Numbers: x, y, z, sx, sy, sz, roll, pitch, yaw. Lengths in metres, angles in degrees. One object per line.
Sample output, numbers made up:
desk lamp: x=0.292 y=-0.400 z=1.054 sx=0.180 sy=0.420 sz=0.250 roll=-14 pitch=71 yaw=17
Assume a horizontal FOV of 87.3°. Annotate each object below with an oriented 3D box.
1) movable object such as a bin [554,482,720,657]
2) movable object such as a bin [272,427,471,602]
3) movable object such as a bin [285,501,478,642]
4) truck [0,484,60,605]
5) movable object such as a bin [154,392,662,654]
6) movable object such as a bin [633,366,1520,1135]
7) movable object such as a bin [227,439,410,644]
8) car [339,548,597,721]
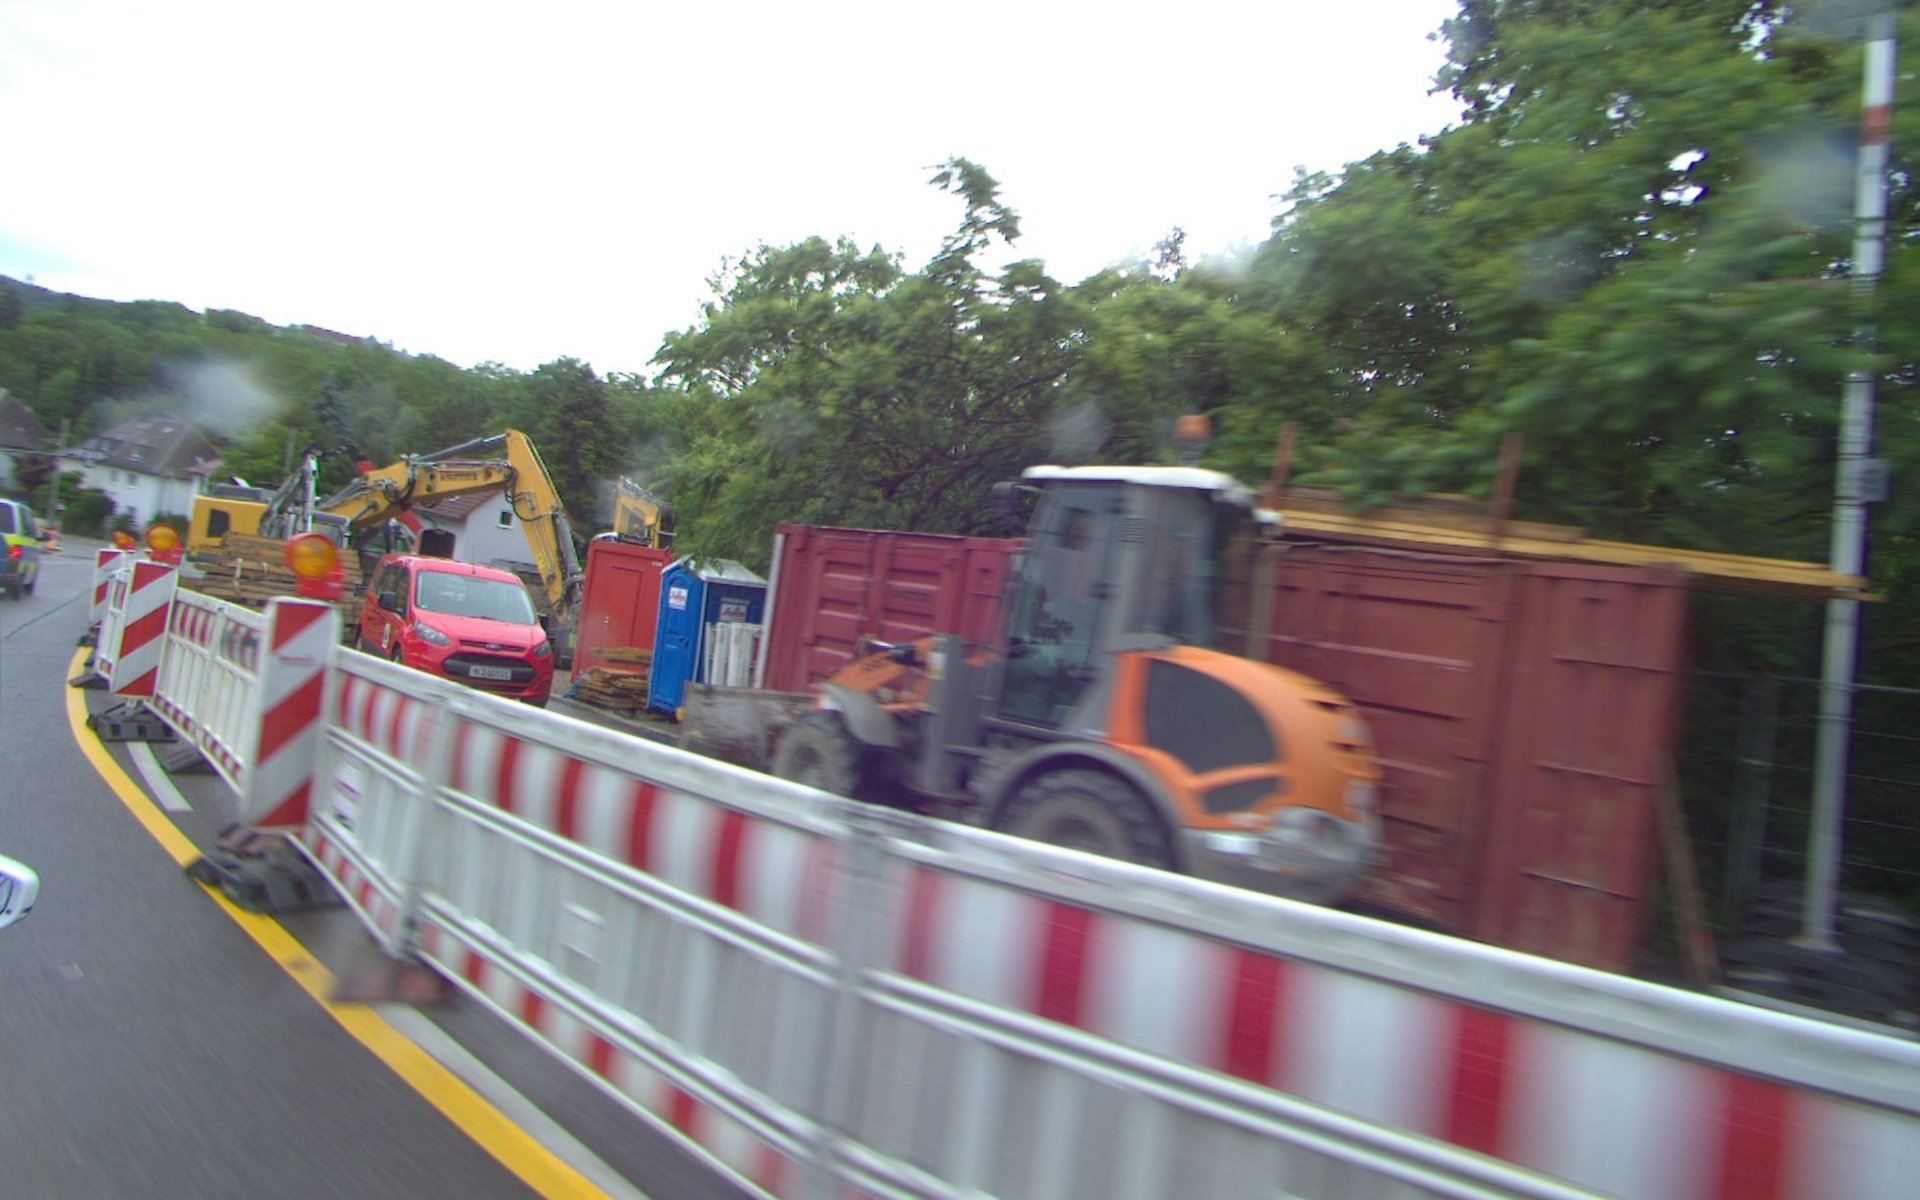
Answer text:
movable object such as a bin: x=-8.398 y=-0.807 z=25.881 sx=1.987 sy=3.933 sz=4.564 roll=8 pitch=-2 yaw=-41
movable object such as a bin: x=-27.354 y=-3.776 z=46.988 sx=6.931 sy=6.766 sz=3.009 roll=9 pitch=-2 yaw=-43
movable object such as a bin: x=-16.877 y=-0.781 z=29.453 sx=2.372 sy=3.242 sz=3.985 roll=13 pitch=2 yaw=41
truck: x=-20.100 y=-1.301 z=20.542 sx=1.983 sy=2.039 sz=4.683 roll=7 pitch=3 yaw=-37
movable object such as a bin: x=-12.651 y=-1.765 z=23.158 sx=10.613 sy=4.972 sz=3.073 roll=4 pitch=-3 yaw=15
movable object such as a bin: x=0.306 y=0.378 z=6.765 sx=5.209 sy=3.266 sz=2.073 roll=13 pitch=3 yaw=43
movable object such as a bin: x=-12.299 y=-0.996 z=19.198 sx=1.988 sy=3.341 sz=3.792 roll=8 pitch=-4 yaw=-43
car: x=-6.919 y=0.355 z=13.812 sx=1.986 sy=1.799 sz=4.945 roll=9 pitch=-3 yaw=-39
